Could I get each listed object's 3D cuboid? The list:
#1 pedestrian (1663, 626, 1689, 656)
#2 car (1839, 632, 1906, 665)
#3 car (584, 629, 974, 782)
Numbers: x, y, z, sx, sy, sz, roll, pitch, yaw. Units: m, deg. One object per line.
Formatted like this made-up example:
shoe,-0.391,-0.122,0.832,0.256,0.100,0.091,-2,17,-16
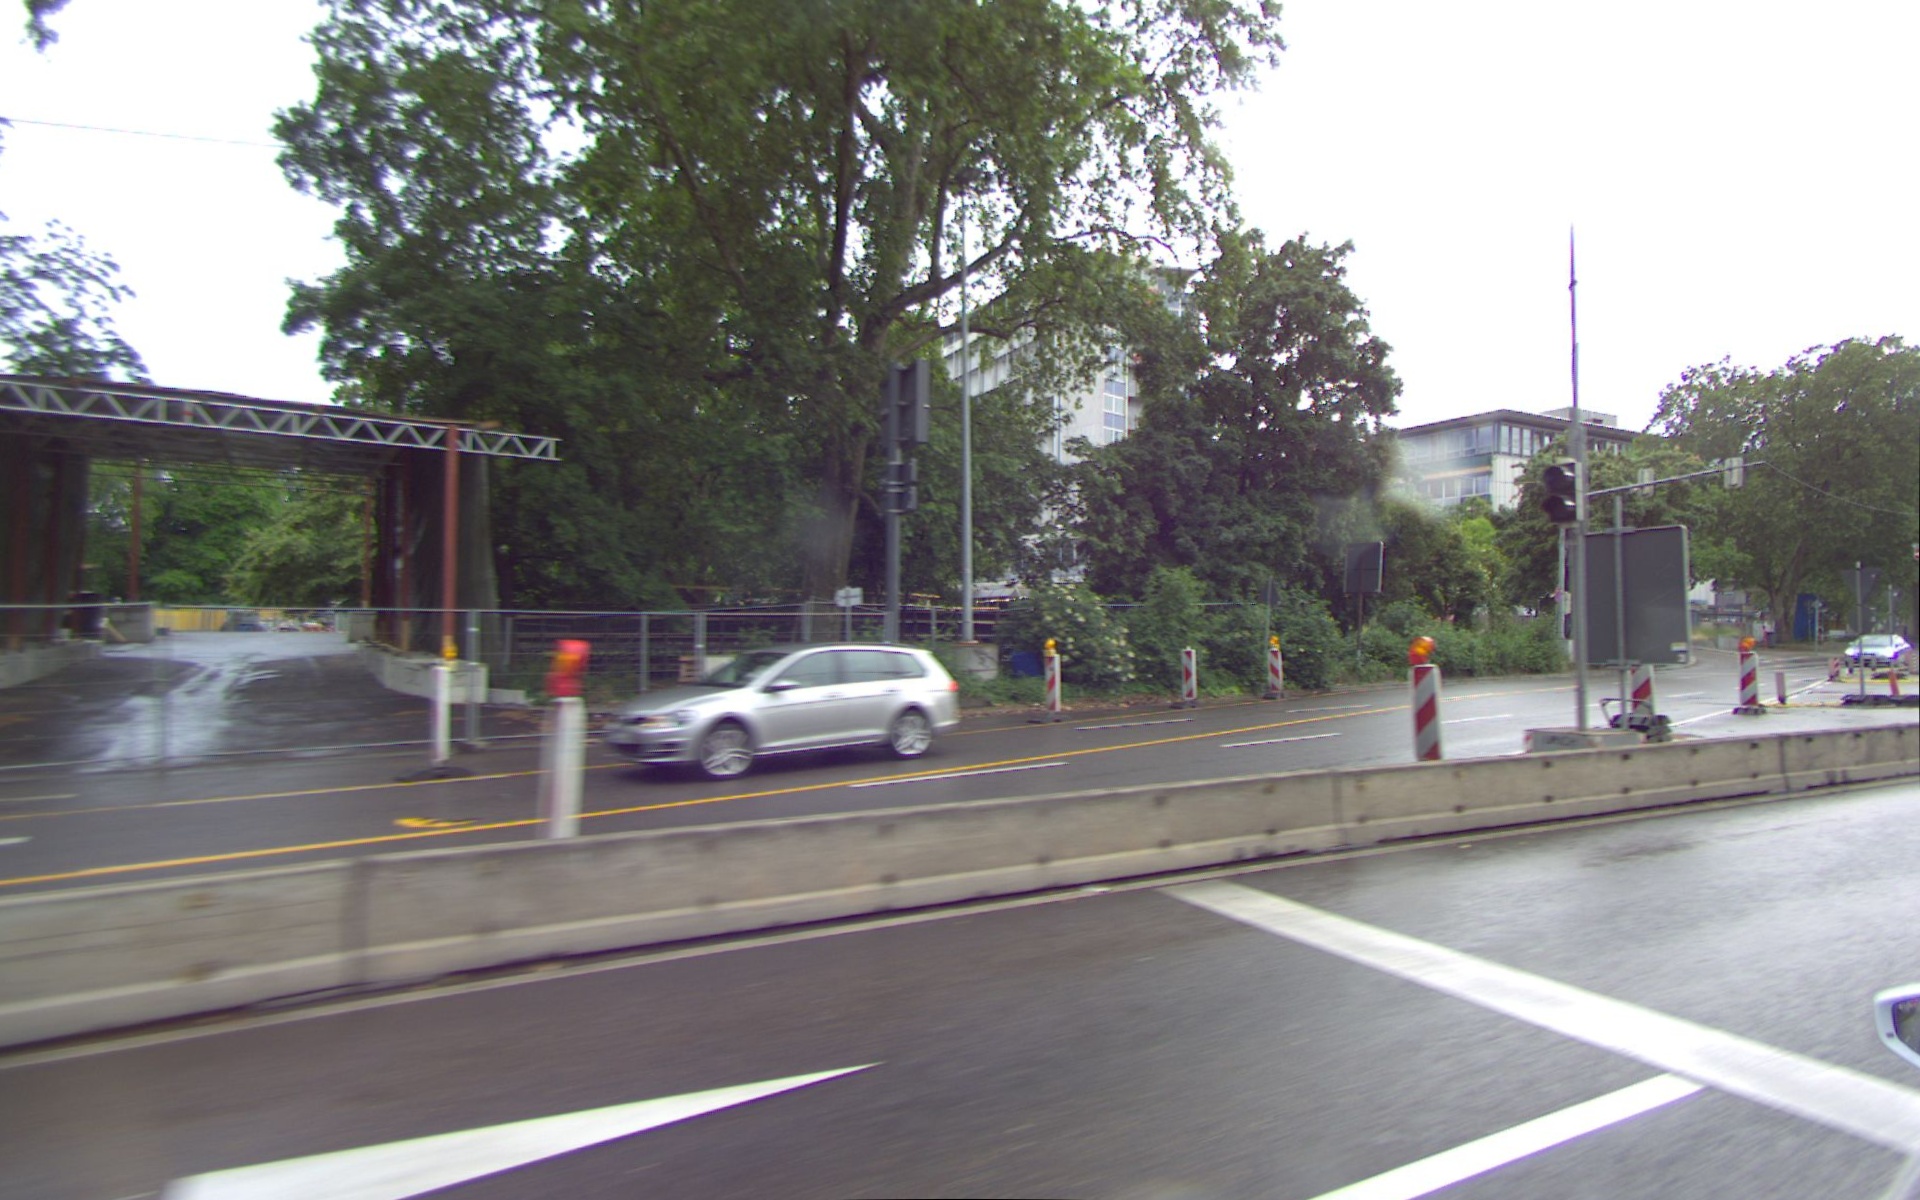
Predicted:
pedestrian,38.630,2.213,54.171,1.096,1.577,0.587,2,-4,-17
car,42.484,2.256,46.738,4.144,1.482,1.751,2,-5,-41
car,-2.094,1.259,12.530,4.416,1.561,1.975,5,-6,-44
